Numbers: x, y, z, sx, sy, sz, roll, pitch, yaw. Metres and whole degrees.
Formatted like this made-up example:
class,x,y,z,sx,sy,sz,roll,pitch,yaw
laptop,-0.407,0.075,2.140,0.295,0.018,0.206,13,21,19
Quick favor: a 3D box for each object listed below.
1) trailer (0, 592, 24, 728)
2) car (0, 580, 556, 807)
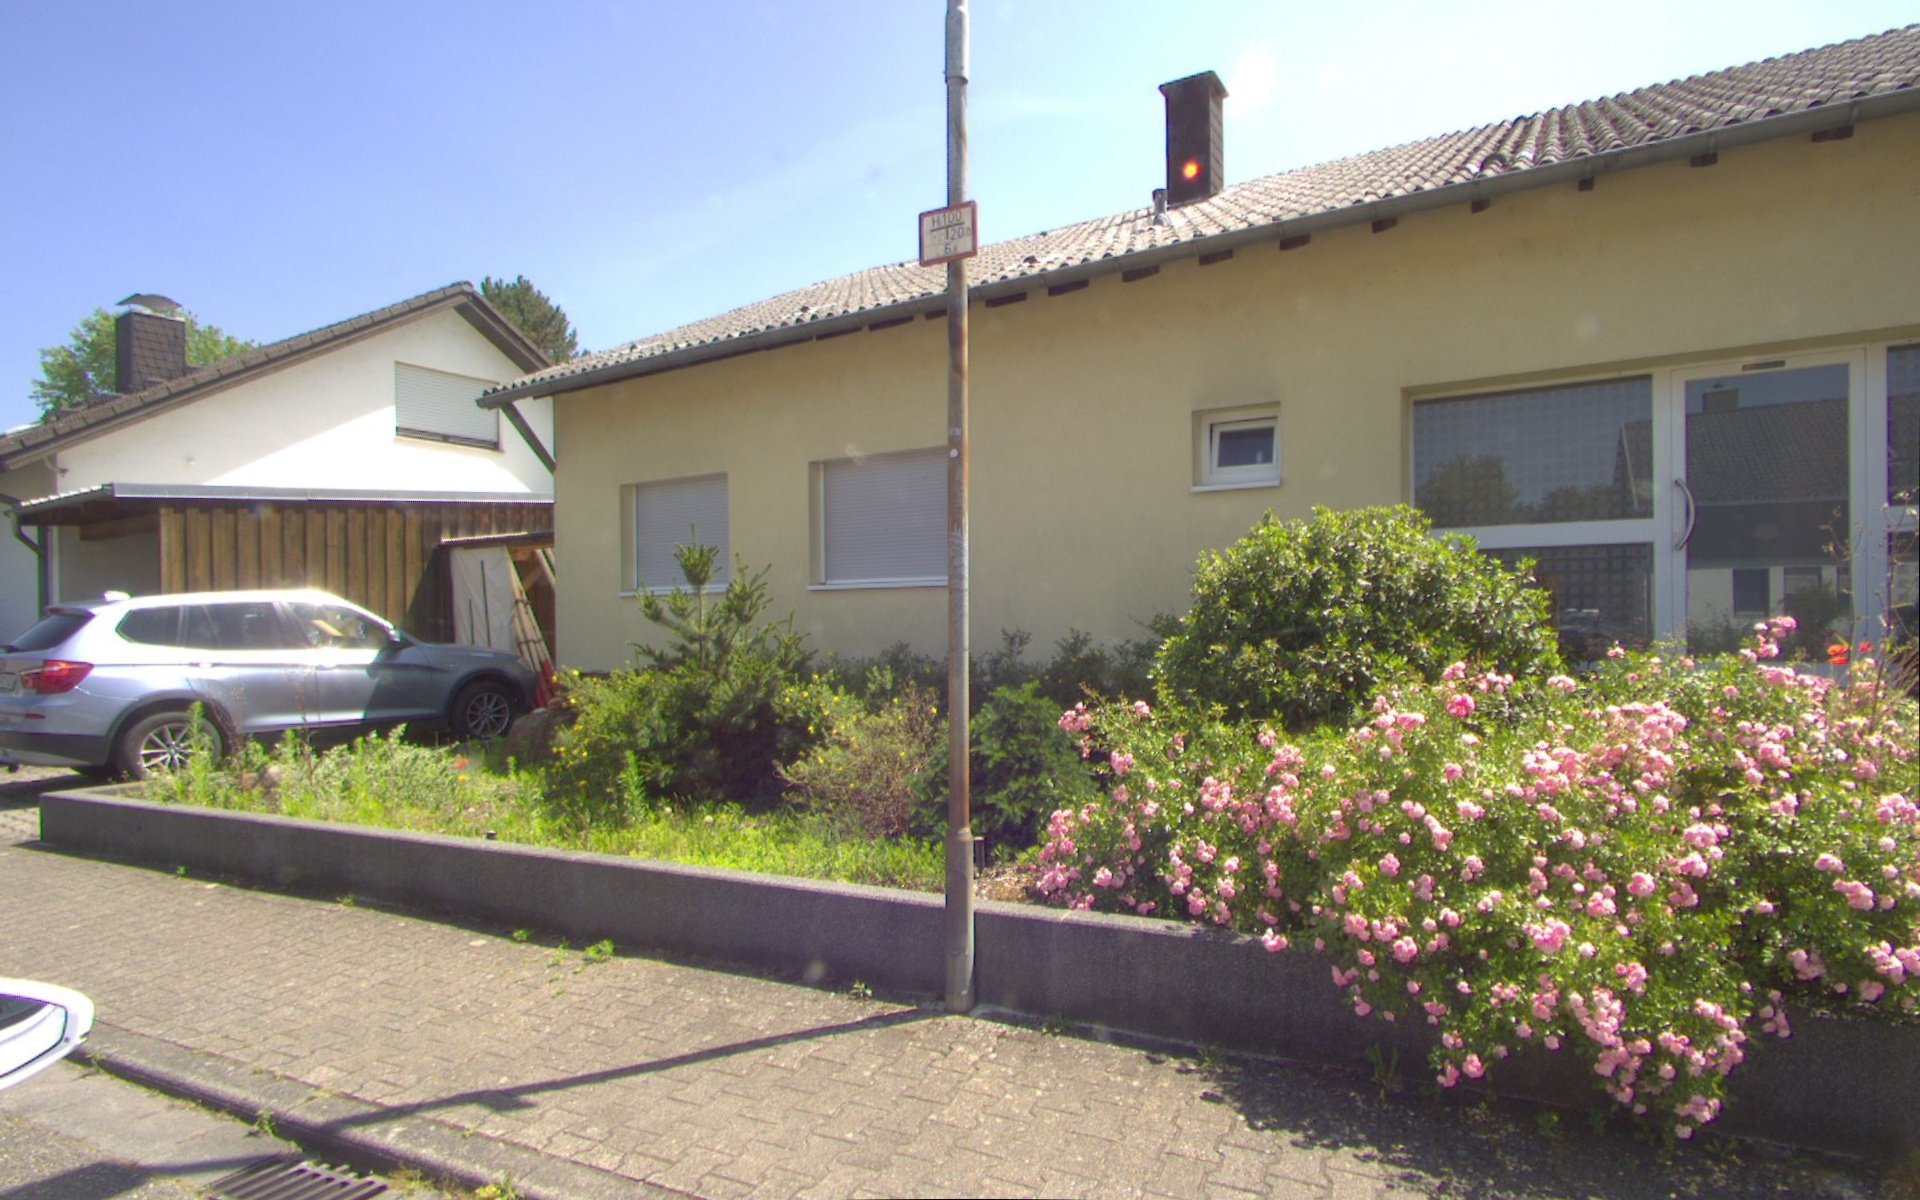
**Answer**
class,x,y,z,sx,sy,sz,roll,pitch,yaw
trailer,-13.627,0.764,12.830,3.249,1.695,1.583,0,1,32
car,-6.603,0.689,9.978,1.686,1.725,4.614,-1,1,34
